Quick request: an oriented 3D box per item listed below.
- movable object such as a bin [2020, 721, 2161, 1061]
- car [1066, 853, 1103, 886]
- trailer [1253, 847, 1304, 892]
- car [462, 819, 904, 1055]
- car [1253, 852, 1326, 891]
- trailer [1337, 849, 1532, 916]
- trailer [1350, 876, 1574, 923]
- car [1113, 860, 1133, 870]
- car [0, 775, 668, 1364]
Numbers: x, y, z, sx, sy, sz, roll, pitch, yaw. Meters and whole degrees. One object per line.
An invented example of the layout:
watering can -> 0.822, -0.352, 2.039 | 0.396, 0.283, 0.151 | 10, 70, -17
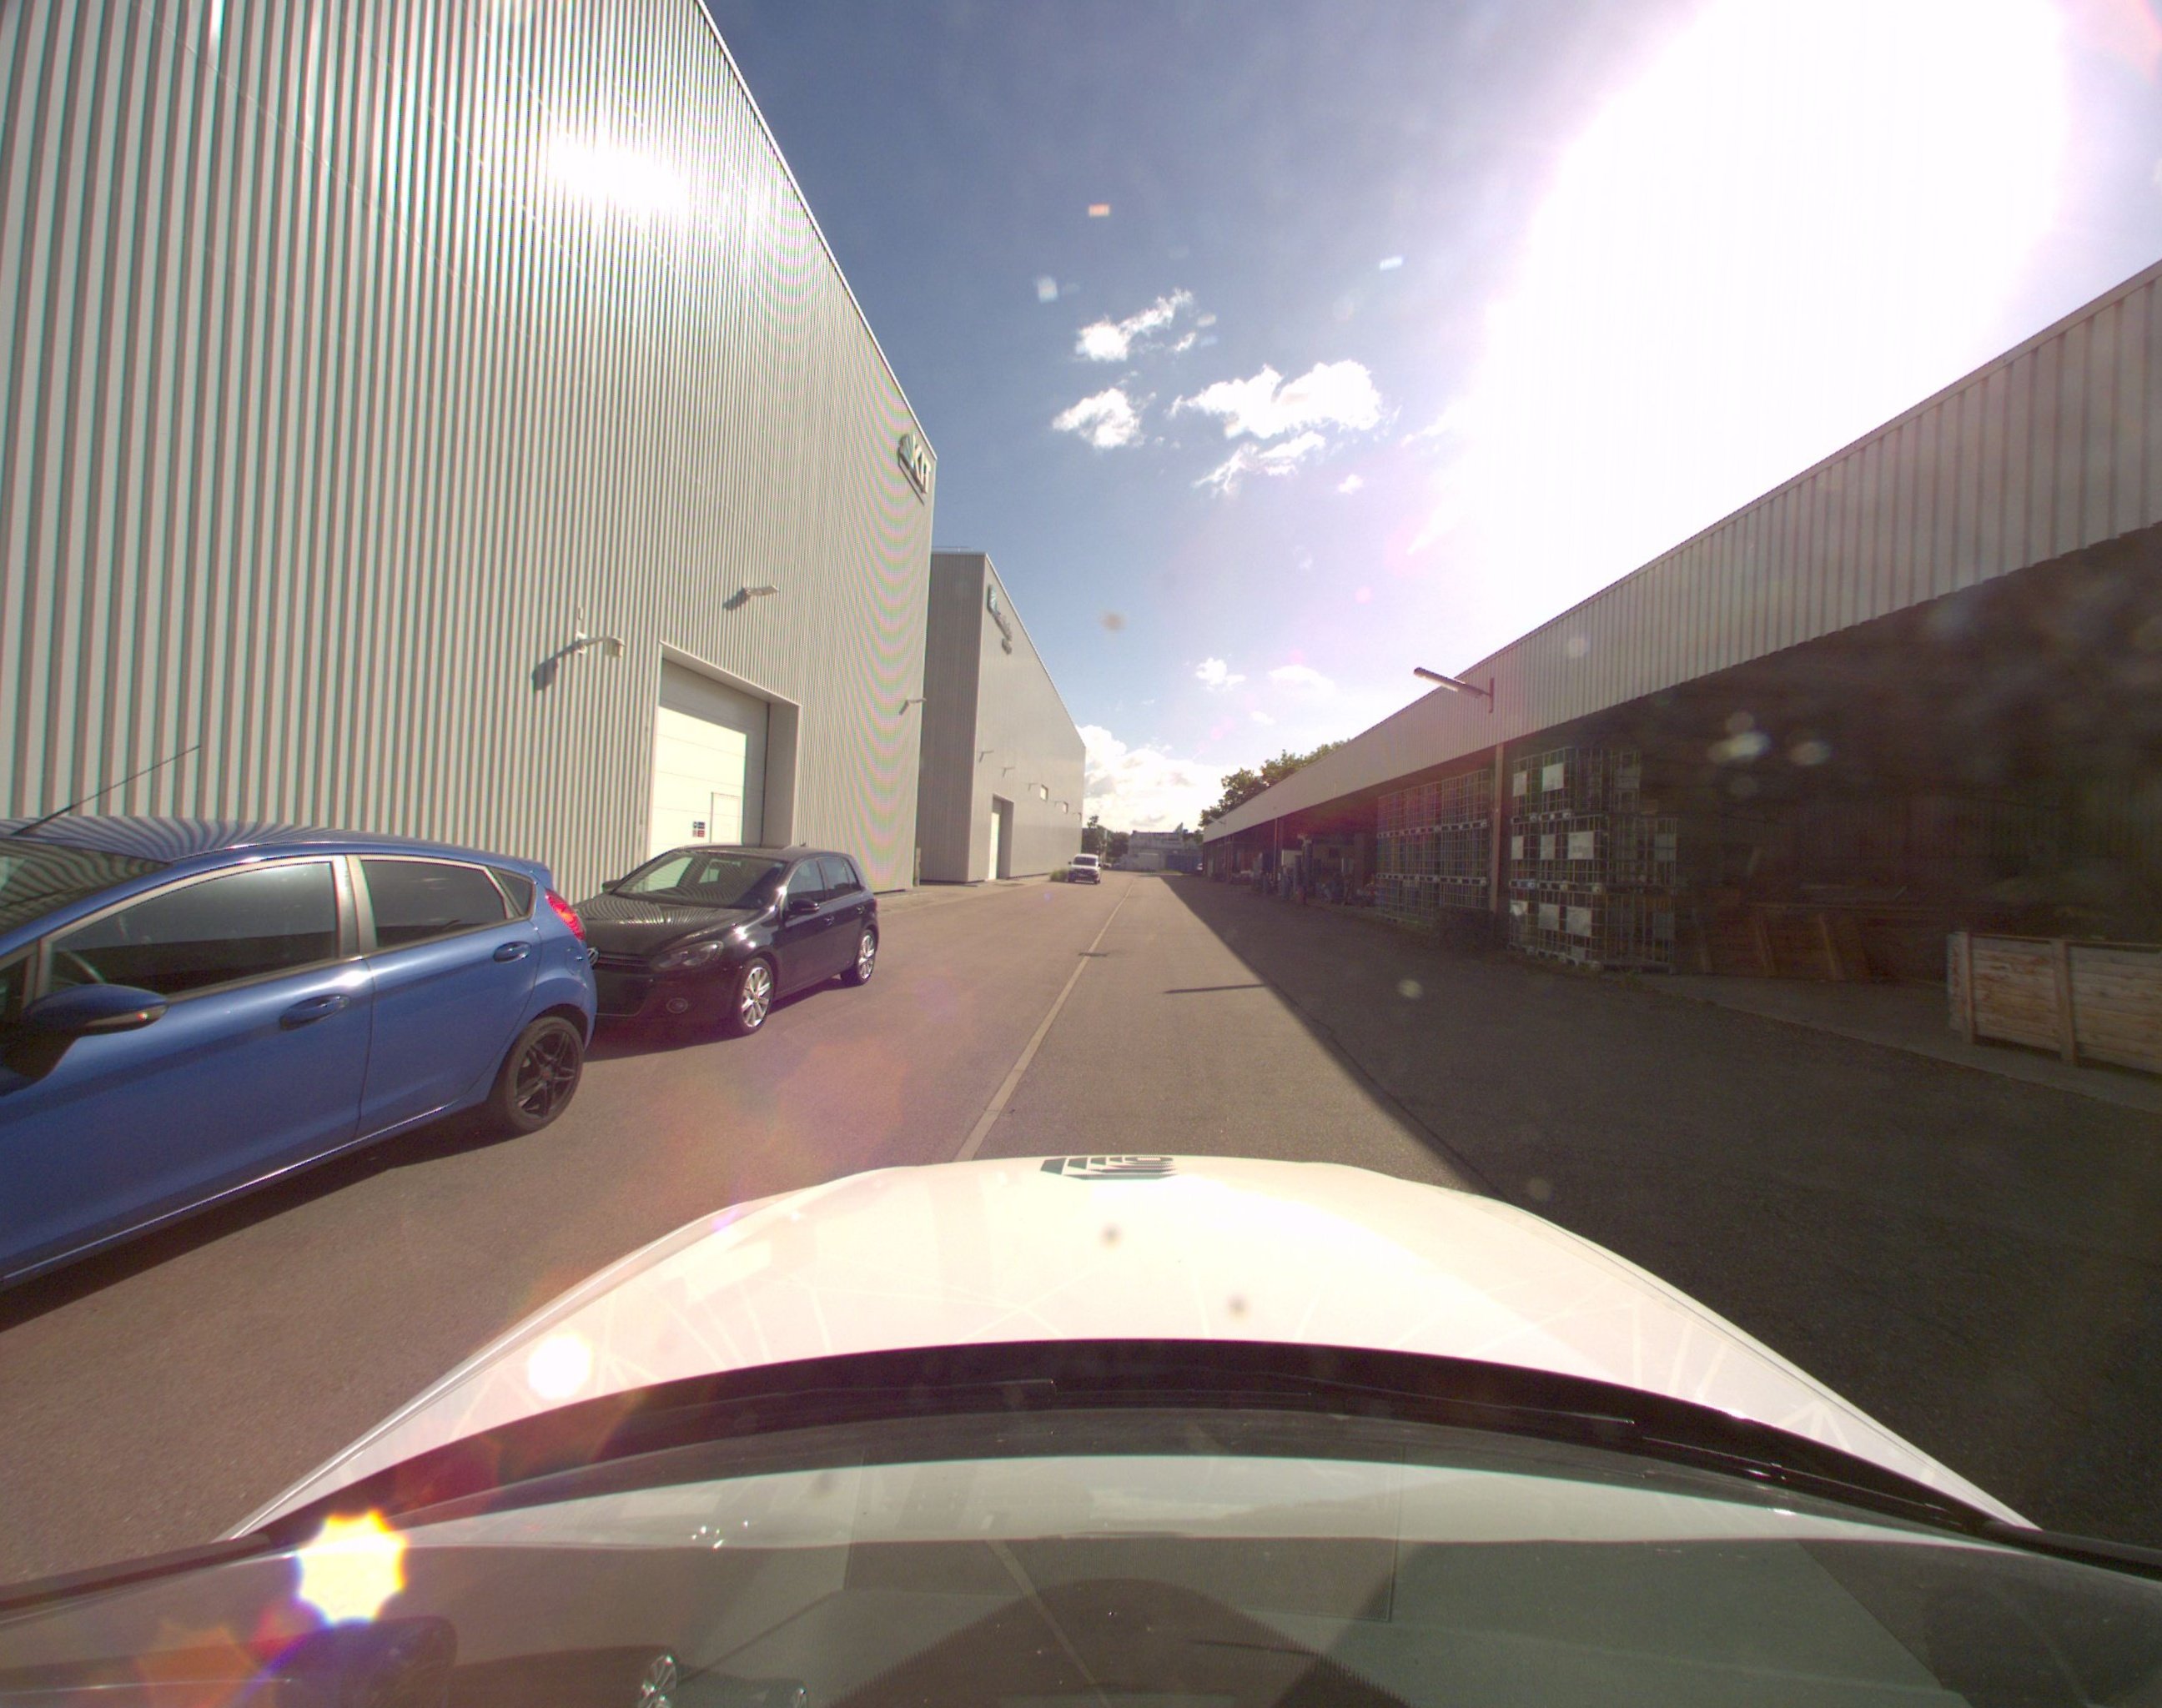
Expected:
movable object such as a bin -> 12.281, 0.425, 6.349 | 6.157, 2.910, 3.020 | 2, -1, 4
car -> 0.257, 0.926, 50.480 | 1.810, 1.787, 4.411 | 4, 0, 5
trailer -> 11.204, 0.905, 46.281 | 2.511, 2.399, 1.729 | 2, -1, 5
car -> -3.242, 0.588, 7.798 | 1.746, 1.500, 4.299 | 4, 0, 5
car -> 14.038, 1.183, 54.904 | 4.412, 2.310, 1.918 | 4, -2, 5
trailer -> 11.971, 0.939, 27.908 | 5.738, 2.032, 2.081 | 2, 0, 5
trailer -> 11.406, 1.342, 24.720 | 5.824, 1.133, 2.143 | 2, 0, 2
car -> 8.262, 2.156, 160.404 | 3.970, 1.598, 1.849 | 4, -2, 3
car -> -3.486, 0.504, 2.904 | 1.624, 1.500, 4.098 | 5, 0, 3
